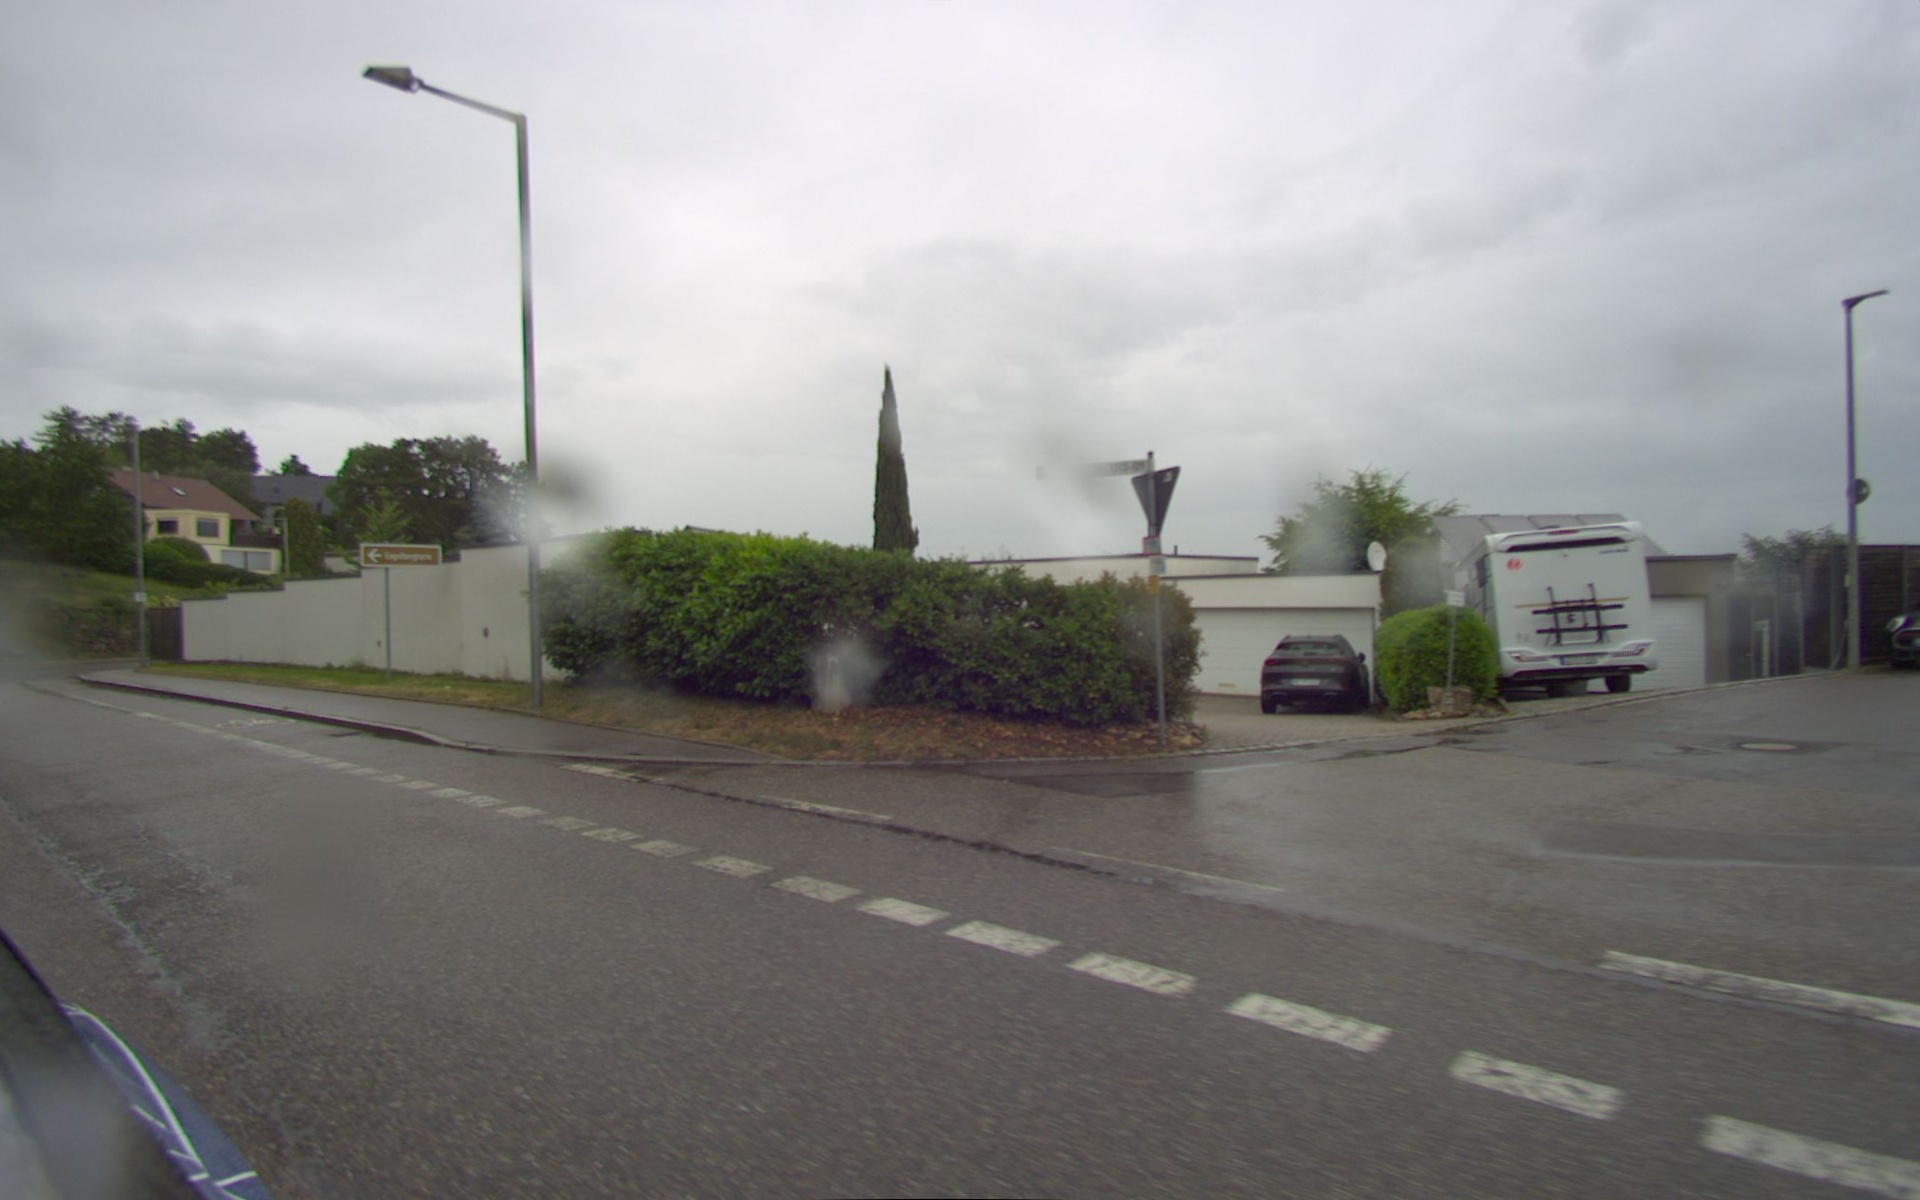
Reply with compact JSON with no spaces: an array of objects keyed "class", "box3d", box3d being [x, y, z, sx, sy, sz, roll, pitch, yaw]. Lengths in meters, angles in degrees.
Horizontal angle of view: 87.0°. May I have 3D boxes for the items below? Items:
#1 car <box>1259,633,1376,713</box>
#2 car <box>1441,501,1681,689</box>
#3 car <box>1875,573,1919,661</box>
[{"class":"car","box3d":[7.236,1.438,20.270,1.863,1.439,3.966,-1,-4,24]},{"class":"car","box3d":[11.288,0.222,19.824,2.806,2.903,7.469,0,-5,22]},{"class":"car","box3d":[17.036,0.225,16.297,3.931,1.373,1.880,-1,0,-23]}]
